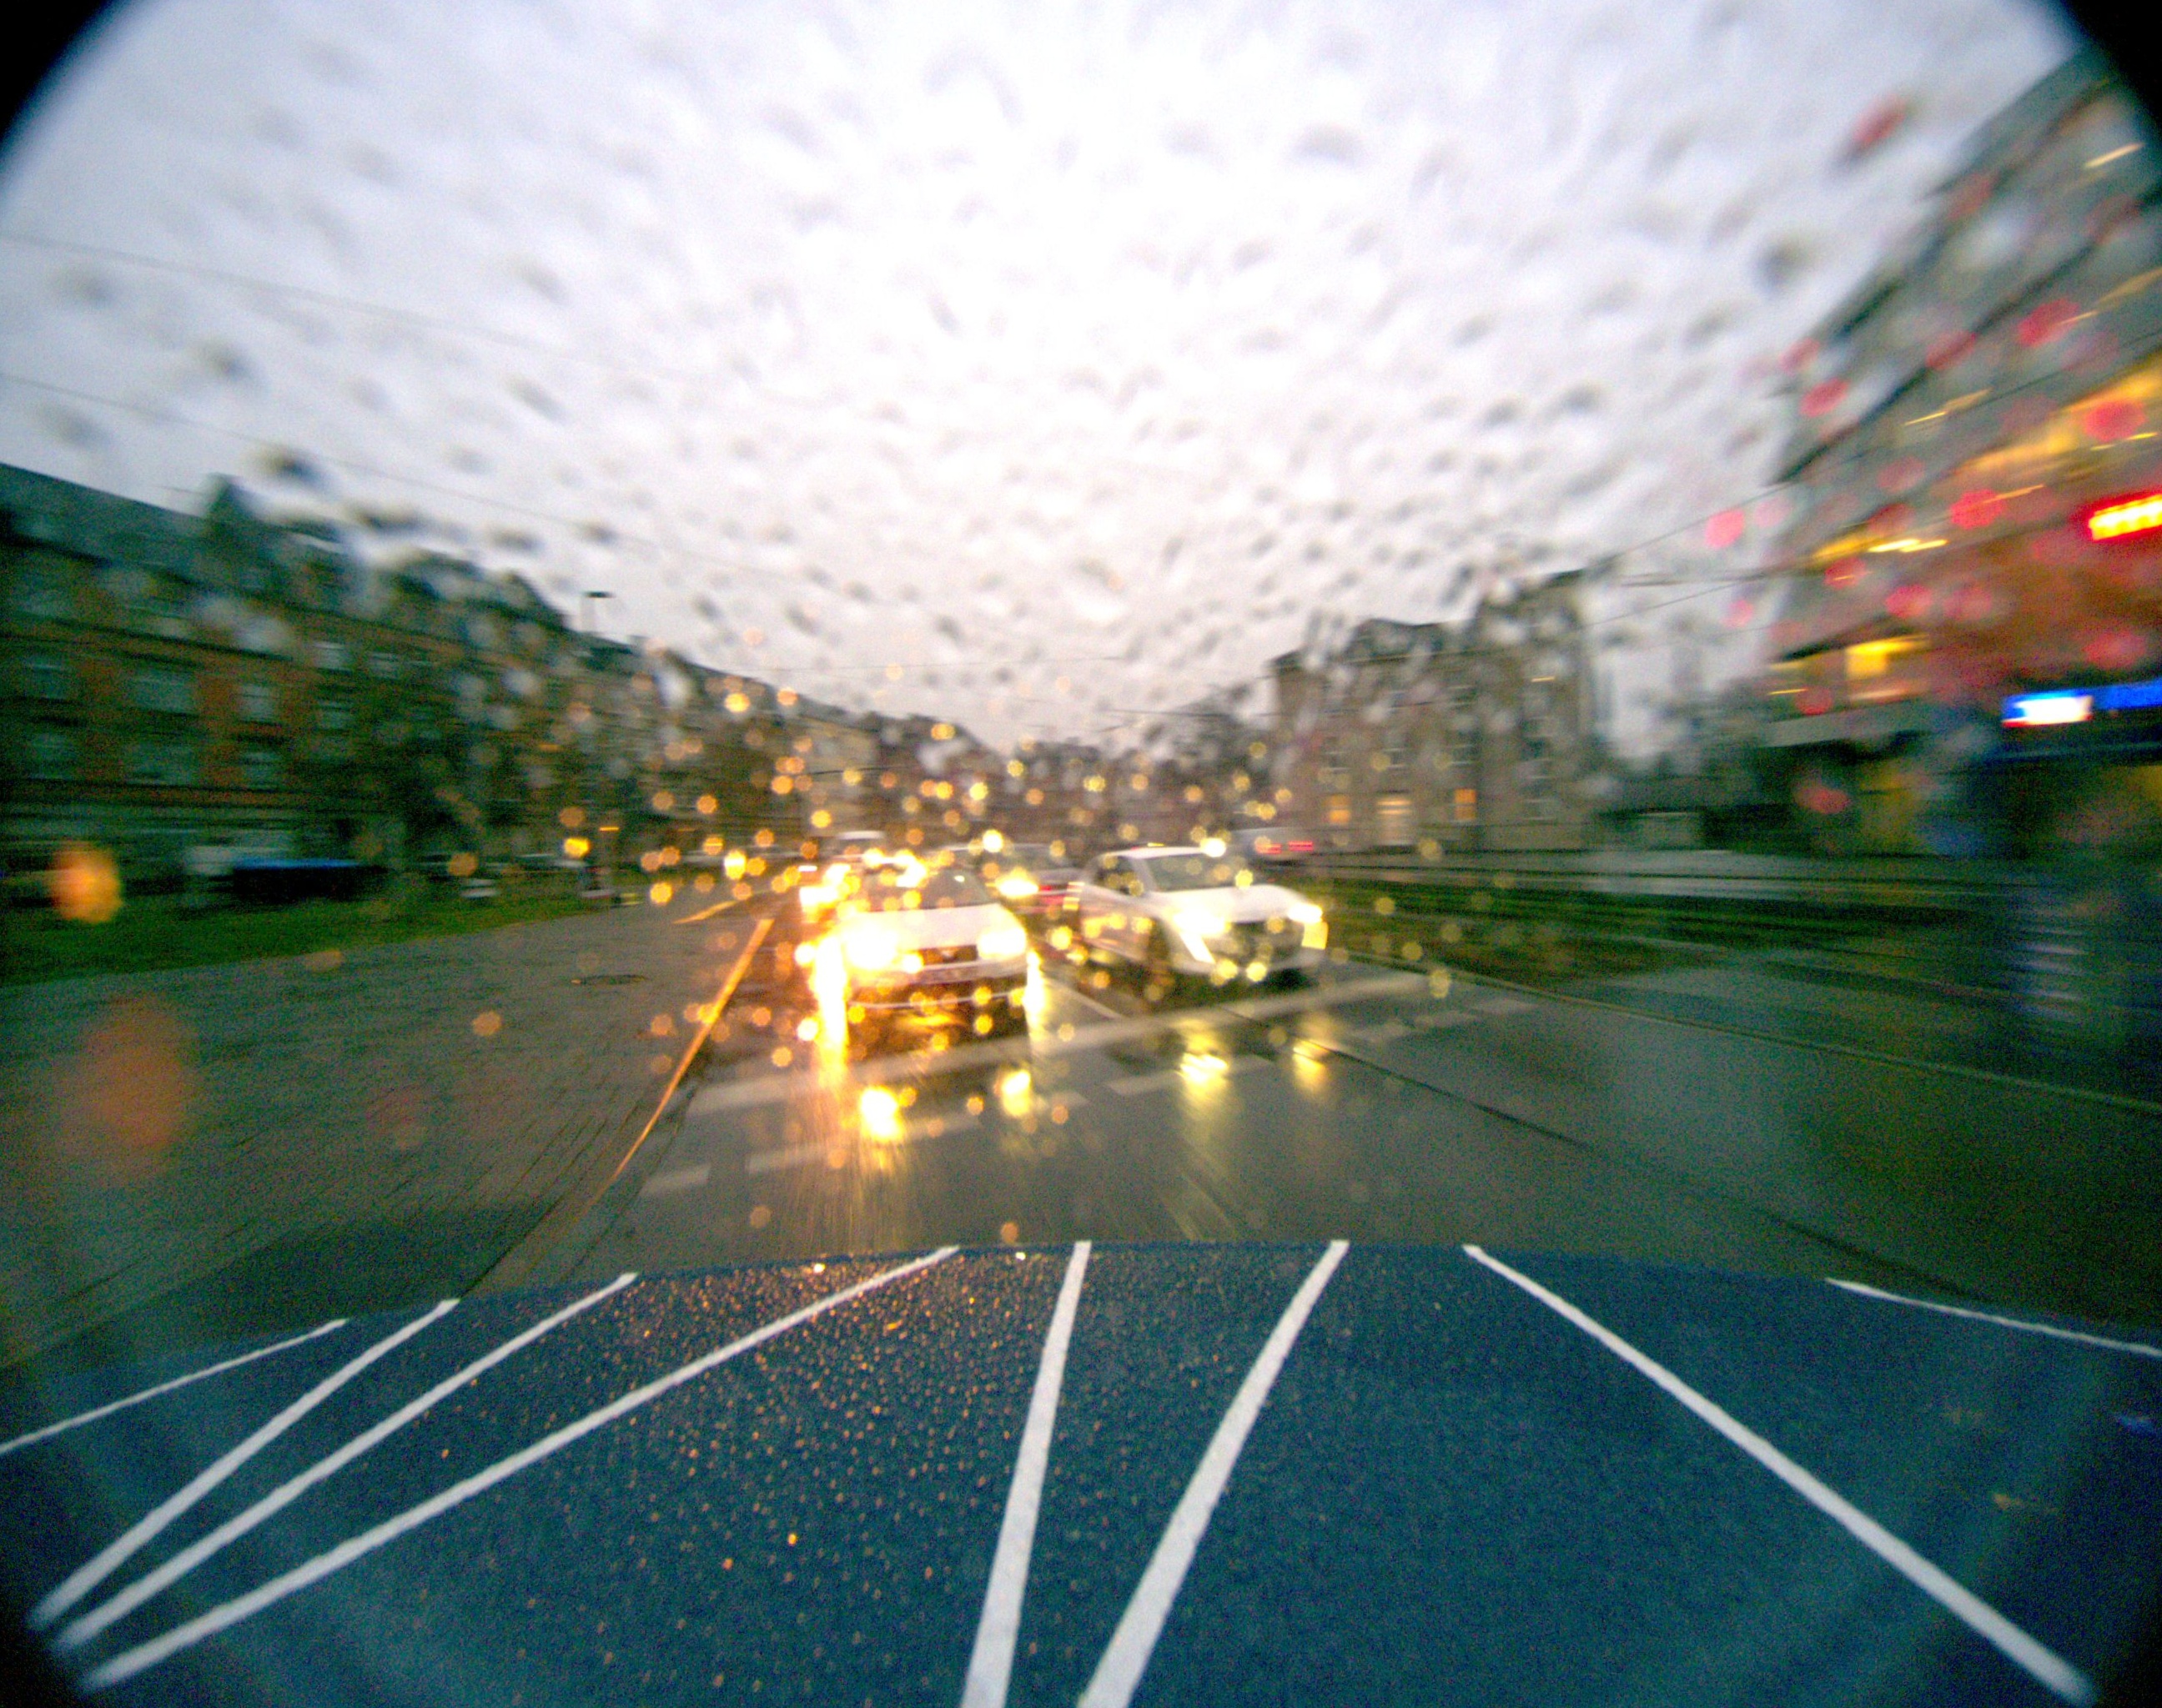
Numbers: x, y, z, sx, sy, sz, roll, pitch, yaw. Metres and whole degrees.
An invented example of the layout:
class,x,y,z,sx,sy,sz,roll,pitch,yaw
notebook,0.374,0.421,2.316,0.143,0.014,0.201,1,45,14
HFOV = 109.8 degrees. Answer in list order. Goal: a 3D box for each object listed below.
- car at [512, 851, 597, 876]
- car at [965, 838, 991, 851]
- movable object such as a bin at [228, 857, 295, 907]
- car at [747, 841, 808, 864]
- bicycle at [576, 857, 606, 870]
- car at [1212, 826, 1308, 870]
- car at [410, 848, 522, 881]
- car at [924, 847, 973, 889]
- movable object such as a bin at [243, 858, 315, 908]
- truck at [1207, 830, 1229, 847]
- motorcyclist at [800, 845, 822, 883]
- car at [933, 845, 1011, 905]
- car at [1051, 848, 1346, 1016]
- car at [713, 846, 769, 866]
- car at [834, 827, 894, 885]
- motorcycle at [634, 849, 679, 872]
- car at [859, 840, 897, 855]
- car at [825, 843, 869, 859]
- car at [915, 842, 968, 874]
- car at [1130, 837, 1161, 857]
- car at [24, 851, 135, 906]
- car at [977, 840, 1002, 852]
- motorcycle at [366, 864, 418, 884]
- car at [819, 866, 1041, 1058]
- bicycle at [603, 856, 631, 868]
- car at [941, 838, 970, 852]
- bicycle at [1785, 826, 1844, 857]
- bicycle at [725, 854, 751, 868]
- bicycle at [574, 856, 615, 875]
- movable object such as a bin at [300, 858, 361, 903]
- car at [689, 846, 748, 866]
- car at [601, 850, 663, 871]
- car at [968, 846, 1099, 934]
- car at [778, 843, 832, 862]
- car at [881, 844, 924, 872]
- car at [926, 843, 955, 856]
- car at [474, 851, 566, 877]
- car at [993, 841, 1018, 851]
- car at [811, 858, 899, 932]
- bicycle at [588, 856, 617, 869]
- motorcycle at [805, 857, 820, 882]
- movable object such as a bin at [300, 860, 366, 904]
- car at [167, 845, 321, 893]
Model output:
class,x,y,z,sx,sy,sz,roll,pitch,yaw
car,-30.837,0.532,44.617,3.689,1.298,1.666,-2,1,-12
car,-13.118,-1.231,97.019,3.185,1.615,1.445,-1,1,-3
movable object such as a bin,-26.812,0.896,24.871,1.050,1.566,1.142,-1,2,24
car,-24.825,-0.152,62.258,4.346,1.758,1.779,-2,1,-12
bicycle,-31.299,0.576,48.555,1.792,0.790,0.446,1,2,12
car,8.065,-0.289,34.768,1.906,1.861,4.954,-2,1,-19
car,-32.037,0.514,39.706,4.158,1.560,1.740,-2,1,-12
car,-5.099,0.492,29.045,1.691,1.422,3.342,-2,2,-11
movable object such as a bin,-25.526,0.913,24.203,1.050,1.502,1.255,-1,2,24
truck,16.384,-1.872,90.876,1.834,2.033,4.005,-1,1,21
motorcyclist,-13.367,0.480,37.648,0.887,1.871,0.920,-2,2,-15
car,-3.348,0.538,22.802,1.678,1.590,4.216,-2,1,-17
car,1.122,0.705,9.136,1.765,1.455,3.910,-4,2,-20
car,-26.532,0.130,59.345,3.689,1.429,1.519,-1,1,-11
car,-10.125,0.043,35.841,2.244,2.449,5.662,-2,2,-12
motorcycle,-26.450,0.370,47.381,2.356,1.338,0.884,2,2,3
car,-20.273,-0.676,75.908,3.616,1.362,1.615,-2,1,-13
car,-21.723,-0.298,70.580,3.614,1.362,1.616,-1,1,-7
car,-6.839,0.158,37.612,1.876,1.466,4.169,-2,1,-2
car,4.801,-0.568,57.503,1.645,1.378,4.473,-1,1,-4
car,-39.042,0.877,29.755,1.947,1.931,4.585,-3,2,-45
car,-12.007,-1.072,99.818,3.185,1.406,1.381,-1,1,-2
motorcycle,-32.660,0.953,36.015,1.796,0.926,0.512,0,2,-11
car,-1.884,0.921,8.489,1.790,1.371,4.215,-3,2,-18
bicycle,-30.750,0.524,50.349,1.793,0.813,0.394,1,2,9
car,-15.133,-1.072,91.711,3.185,1.615,1.427,-1,1,-3
bicycle,27.666,-0.482,28.677,1.494,1.121,0.529,-1,2,21
bicycle,-23.386,0.450,51.805,1.792,0.926,0.446,1,2,17
bicycle,-28.011,0.638,43.732,0.535,1.013,1.911,2,2,38
movable object such as a bin,-26.024,0.911,26.373,1.050,1.477,1.142,-1,2,24
car,-26.971,0.149,56.635,3.689,1.391,1.519,-1,1,-11
car,-30.760,0.436,52.117,3.301,1.298,1.519,-1,1,-11
car,-1.170,0.632,16.258,1.828,1.561,4.354,-2,1,-17
car,-23.577,-0.138,65.000,3.963,1.436,1.700,-1,1,-6
car,-11.625,0.236,49.753,1.876,1.679,4.169,-2,2,-1
car,-16.363,-0.513,88.719,3.185,1.421,1.427,-1,1,-3
car,-31.106,0.529,42.241,3.689,1.298,1.740,-2,1,-12
car,-10.268,-1.035,103.466,3.185,1.276,1.381,-1,1,-2
car,-5.354,0.866,17.834,1.726,1.380,3.815,-3,2,-19
bicycle,-30.950,0.566,49.157,1.792,0.773,0.446,1,2,12
motorcycle,-13.308,0.757,37.750,0.484,1.176,2.406,-2,1,-15
movable object such as a bin,-25.135,0.925,25.547,1.050,1.424,1.227,-1,2,24
car,-41.662,0.674,37.995,1.996,2.177,4.666,-1,1,17
